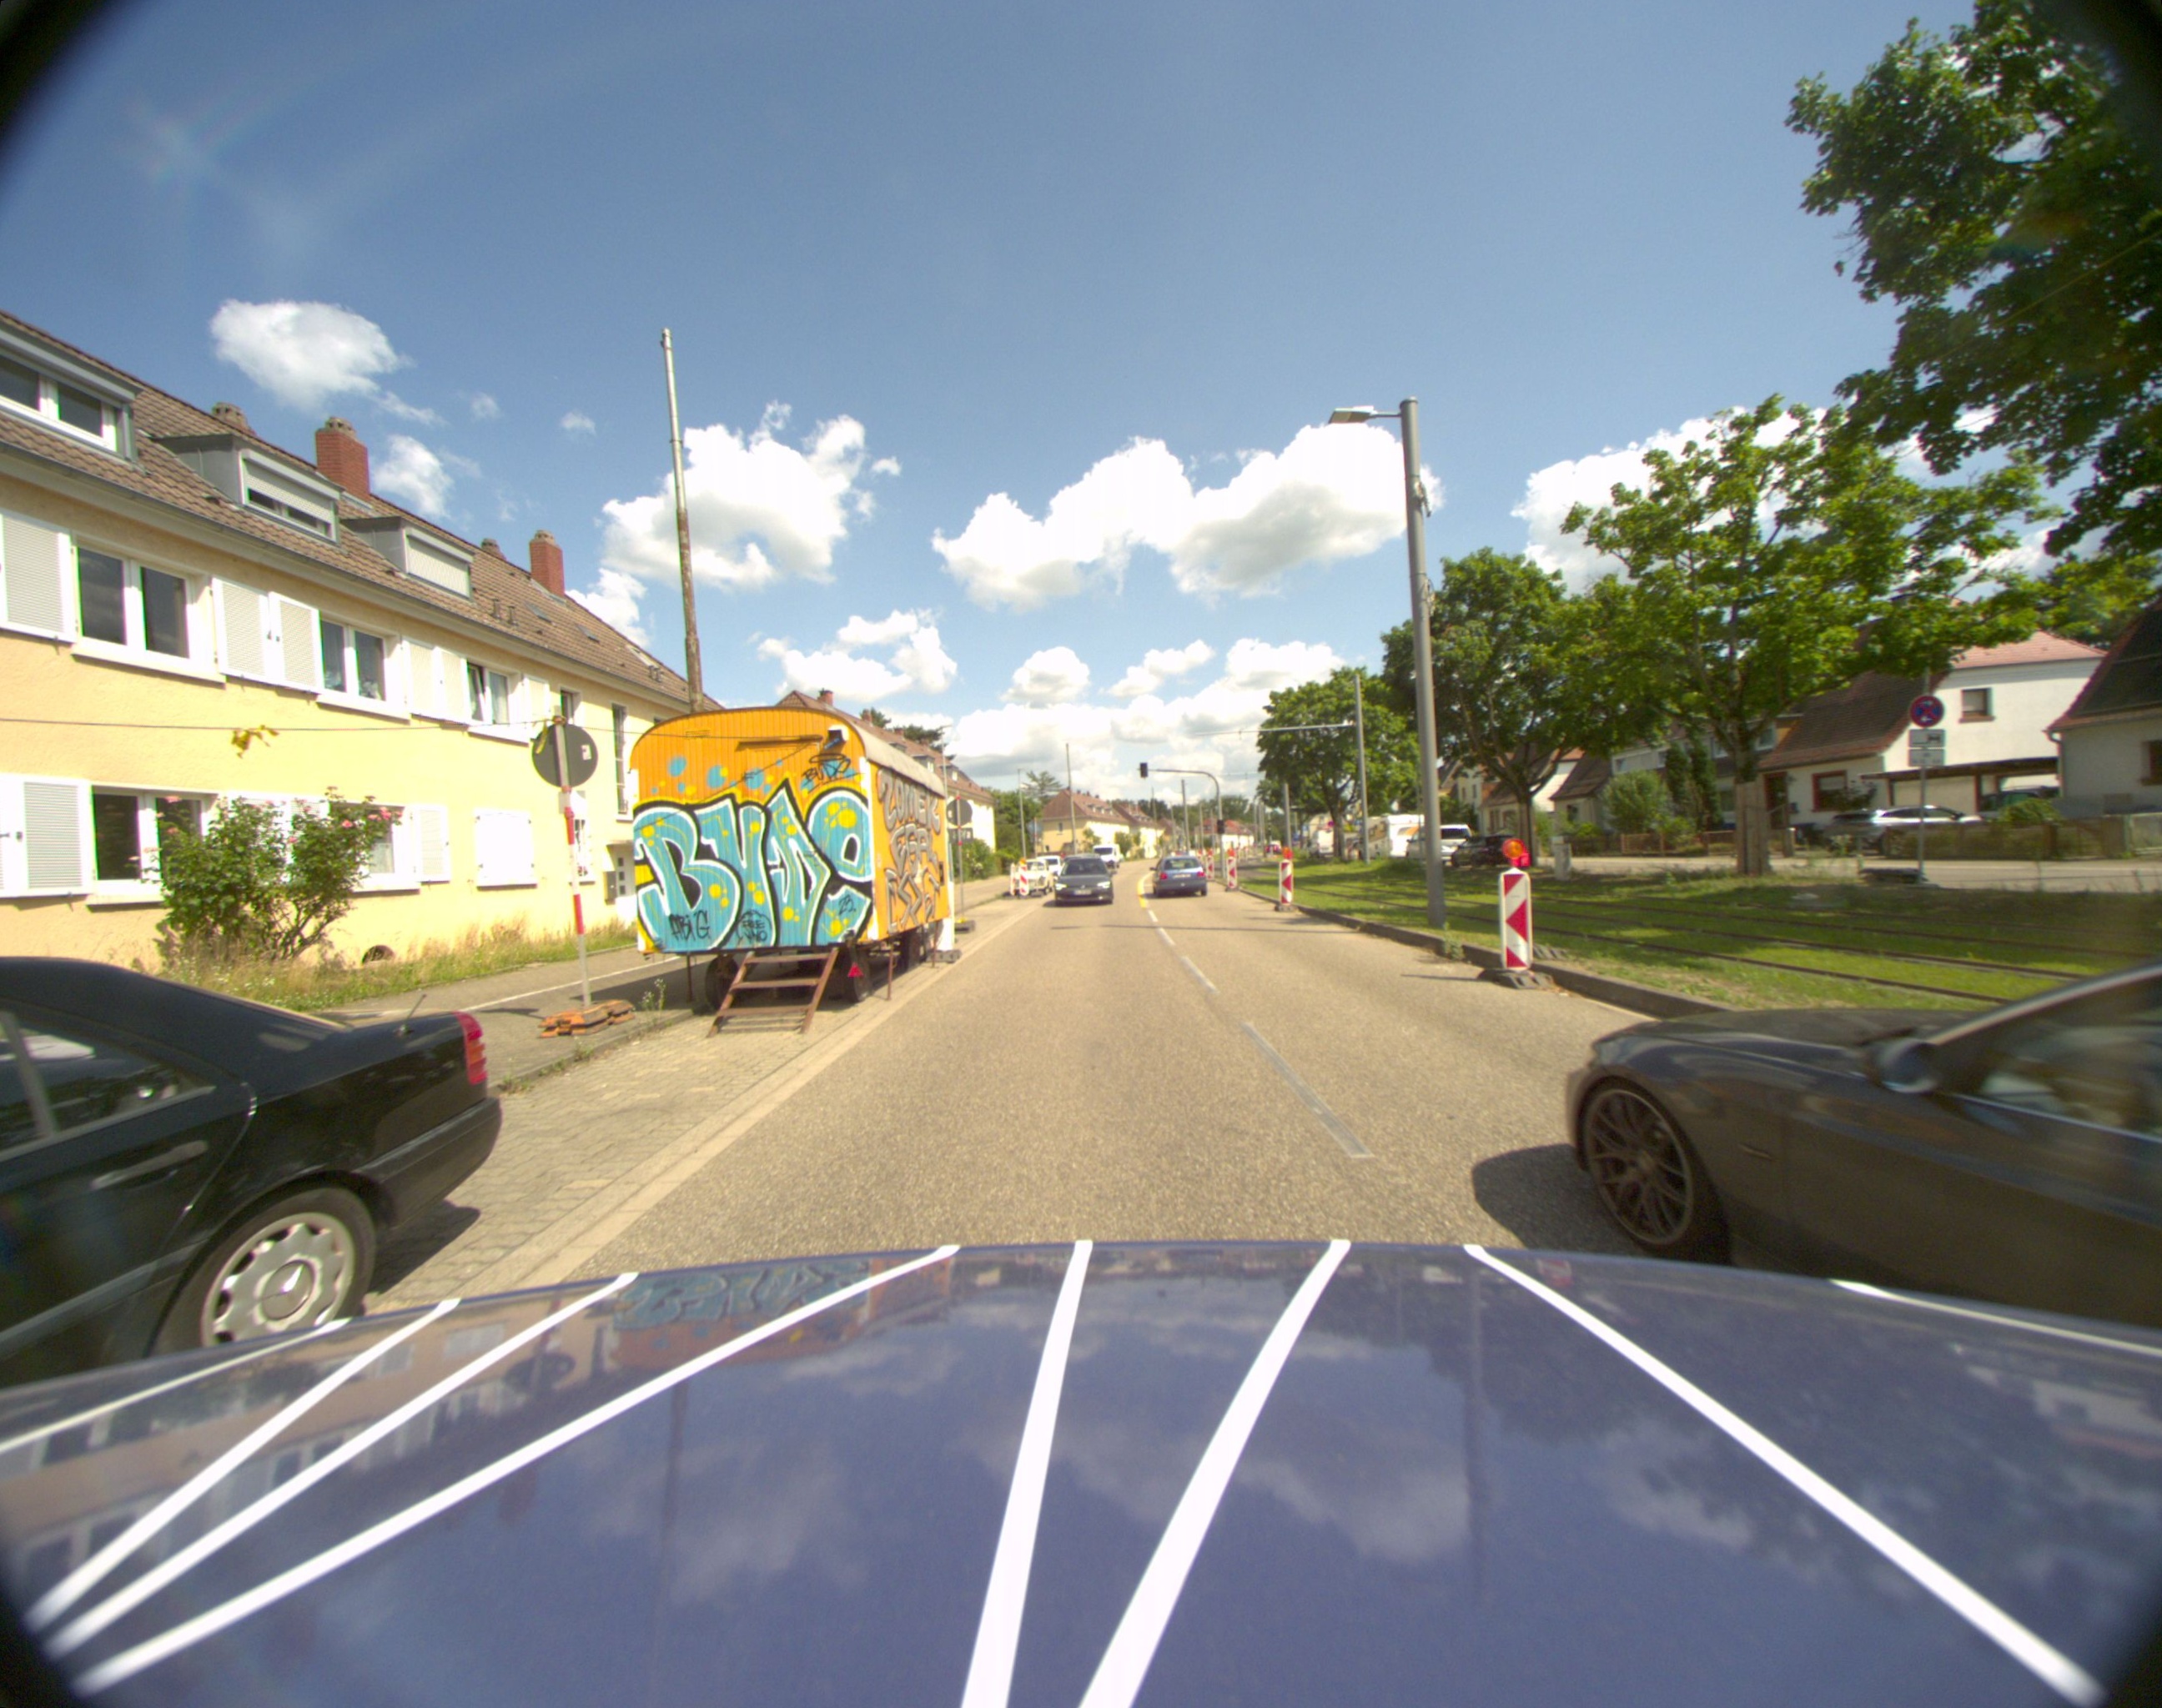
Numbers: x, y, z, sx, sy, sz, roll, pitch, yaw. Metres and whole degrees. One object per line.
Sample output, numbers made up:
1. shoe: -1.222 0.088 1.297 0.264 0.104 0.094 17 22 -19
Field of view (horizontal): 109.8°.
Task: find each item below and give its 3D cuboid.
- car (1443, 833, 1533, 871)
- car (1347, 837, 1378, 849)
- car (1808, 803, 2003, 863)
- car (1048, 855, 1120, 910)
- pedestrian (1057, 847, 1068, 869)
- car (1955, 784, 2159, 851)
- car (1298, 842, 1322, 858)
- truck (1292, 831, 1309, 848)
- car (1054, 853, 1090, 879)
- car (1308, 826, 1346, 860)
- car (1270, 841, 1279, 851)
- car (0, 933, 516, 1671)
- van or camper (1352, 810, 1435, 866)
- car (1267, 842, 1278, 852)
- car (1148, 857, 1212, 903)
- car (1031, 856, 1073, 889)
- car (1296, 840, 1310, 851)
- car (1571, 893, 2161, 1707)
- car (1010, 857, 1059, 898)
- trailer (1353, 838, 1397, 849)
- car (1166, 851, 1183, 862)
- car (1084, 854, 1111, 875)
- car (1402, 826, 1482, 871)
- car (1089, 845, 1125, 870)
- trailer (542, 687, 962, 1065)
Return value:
1. car: 17.090 -0.105 32.154 1.855 1.379 4.811 -3 0 10
2. car: 41.211 -1.646 111.297 3.884 1.546 1.683 -3 0 11
3. car: 25.699 -0.629 23.786 3.997 1.521 1.874 -4 0 0
4. car: 0.206 0.845 24.713 1.741 1.513 4.703 -2 1 7
5. pedestrian: -1.737 0.379 70.755 0.774 2.002 0.762 -3 1 8
6. car: 30.502 -1.095 23.829 3.997 1.727 1.799 -4 0 0
7. car: 22.731 -0.383 75.583 1.695 1.456 4.758 -3 0 10
8. truck: 42.844 -2.774 148.303 2.839 3.135 7.943 -3 0 17
9. car: -0.528 0.754 48.332 1.753 1.489 4.387 -2 0 6
10. car: 20.834 -0.964 64.502 2.157 2.653 4.918 -3 0 8
11. car: 37.648 -1.643 147.881 1.728 1.843 4.546 -3 0 14
12. car: -3.159 1.091 0.915 1.581 1.441 4.453 -3 0 -1
13. van or camper: 18.293 -0.898 44.962 2.381 2.953 7.298 -3 0 5
14. car: 31.804 -1.132 126.189 1.728 1.553 4.546 -3 0 15
15. car: 3.352 0.848 26.423 1.669 1.441 3.959 -1 0 -1
16. car: -1.388 0.875 37.794 1.531 1.472 3.811 -2 0 6
17. car: 33.334 -1.357 114.068 1.727 1.518 4.776 -3 0 20
18. car: 2.810 0.891 0.850 1.729 1.381 4.121 -3 0 -2
19. car: -1.847 0.916 31.379 1.466 1.493 4.110 -2 0 4
20. trailer: 37.541 -1.338 97.116 4.929 1.118 1.962 -3 0 11
21. car: 13.924 0.342 113.054 1.877 1.544 4.989 -3 0 13
22. car: 1.330 0.832 60.381 1.711 1.495 4.257 -3 0 6
23. car: 17.866 -0.271 37.885 1.998 2.002 4.906 -3 0 6
24. car: 2.492 0.273 69.978 2.280 2.170 6.372 -3 0 10
25. trailer: -3.324 0.201 9.295 2.697 3.208 5.082 -3 0 0
